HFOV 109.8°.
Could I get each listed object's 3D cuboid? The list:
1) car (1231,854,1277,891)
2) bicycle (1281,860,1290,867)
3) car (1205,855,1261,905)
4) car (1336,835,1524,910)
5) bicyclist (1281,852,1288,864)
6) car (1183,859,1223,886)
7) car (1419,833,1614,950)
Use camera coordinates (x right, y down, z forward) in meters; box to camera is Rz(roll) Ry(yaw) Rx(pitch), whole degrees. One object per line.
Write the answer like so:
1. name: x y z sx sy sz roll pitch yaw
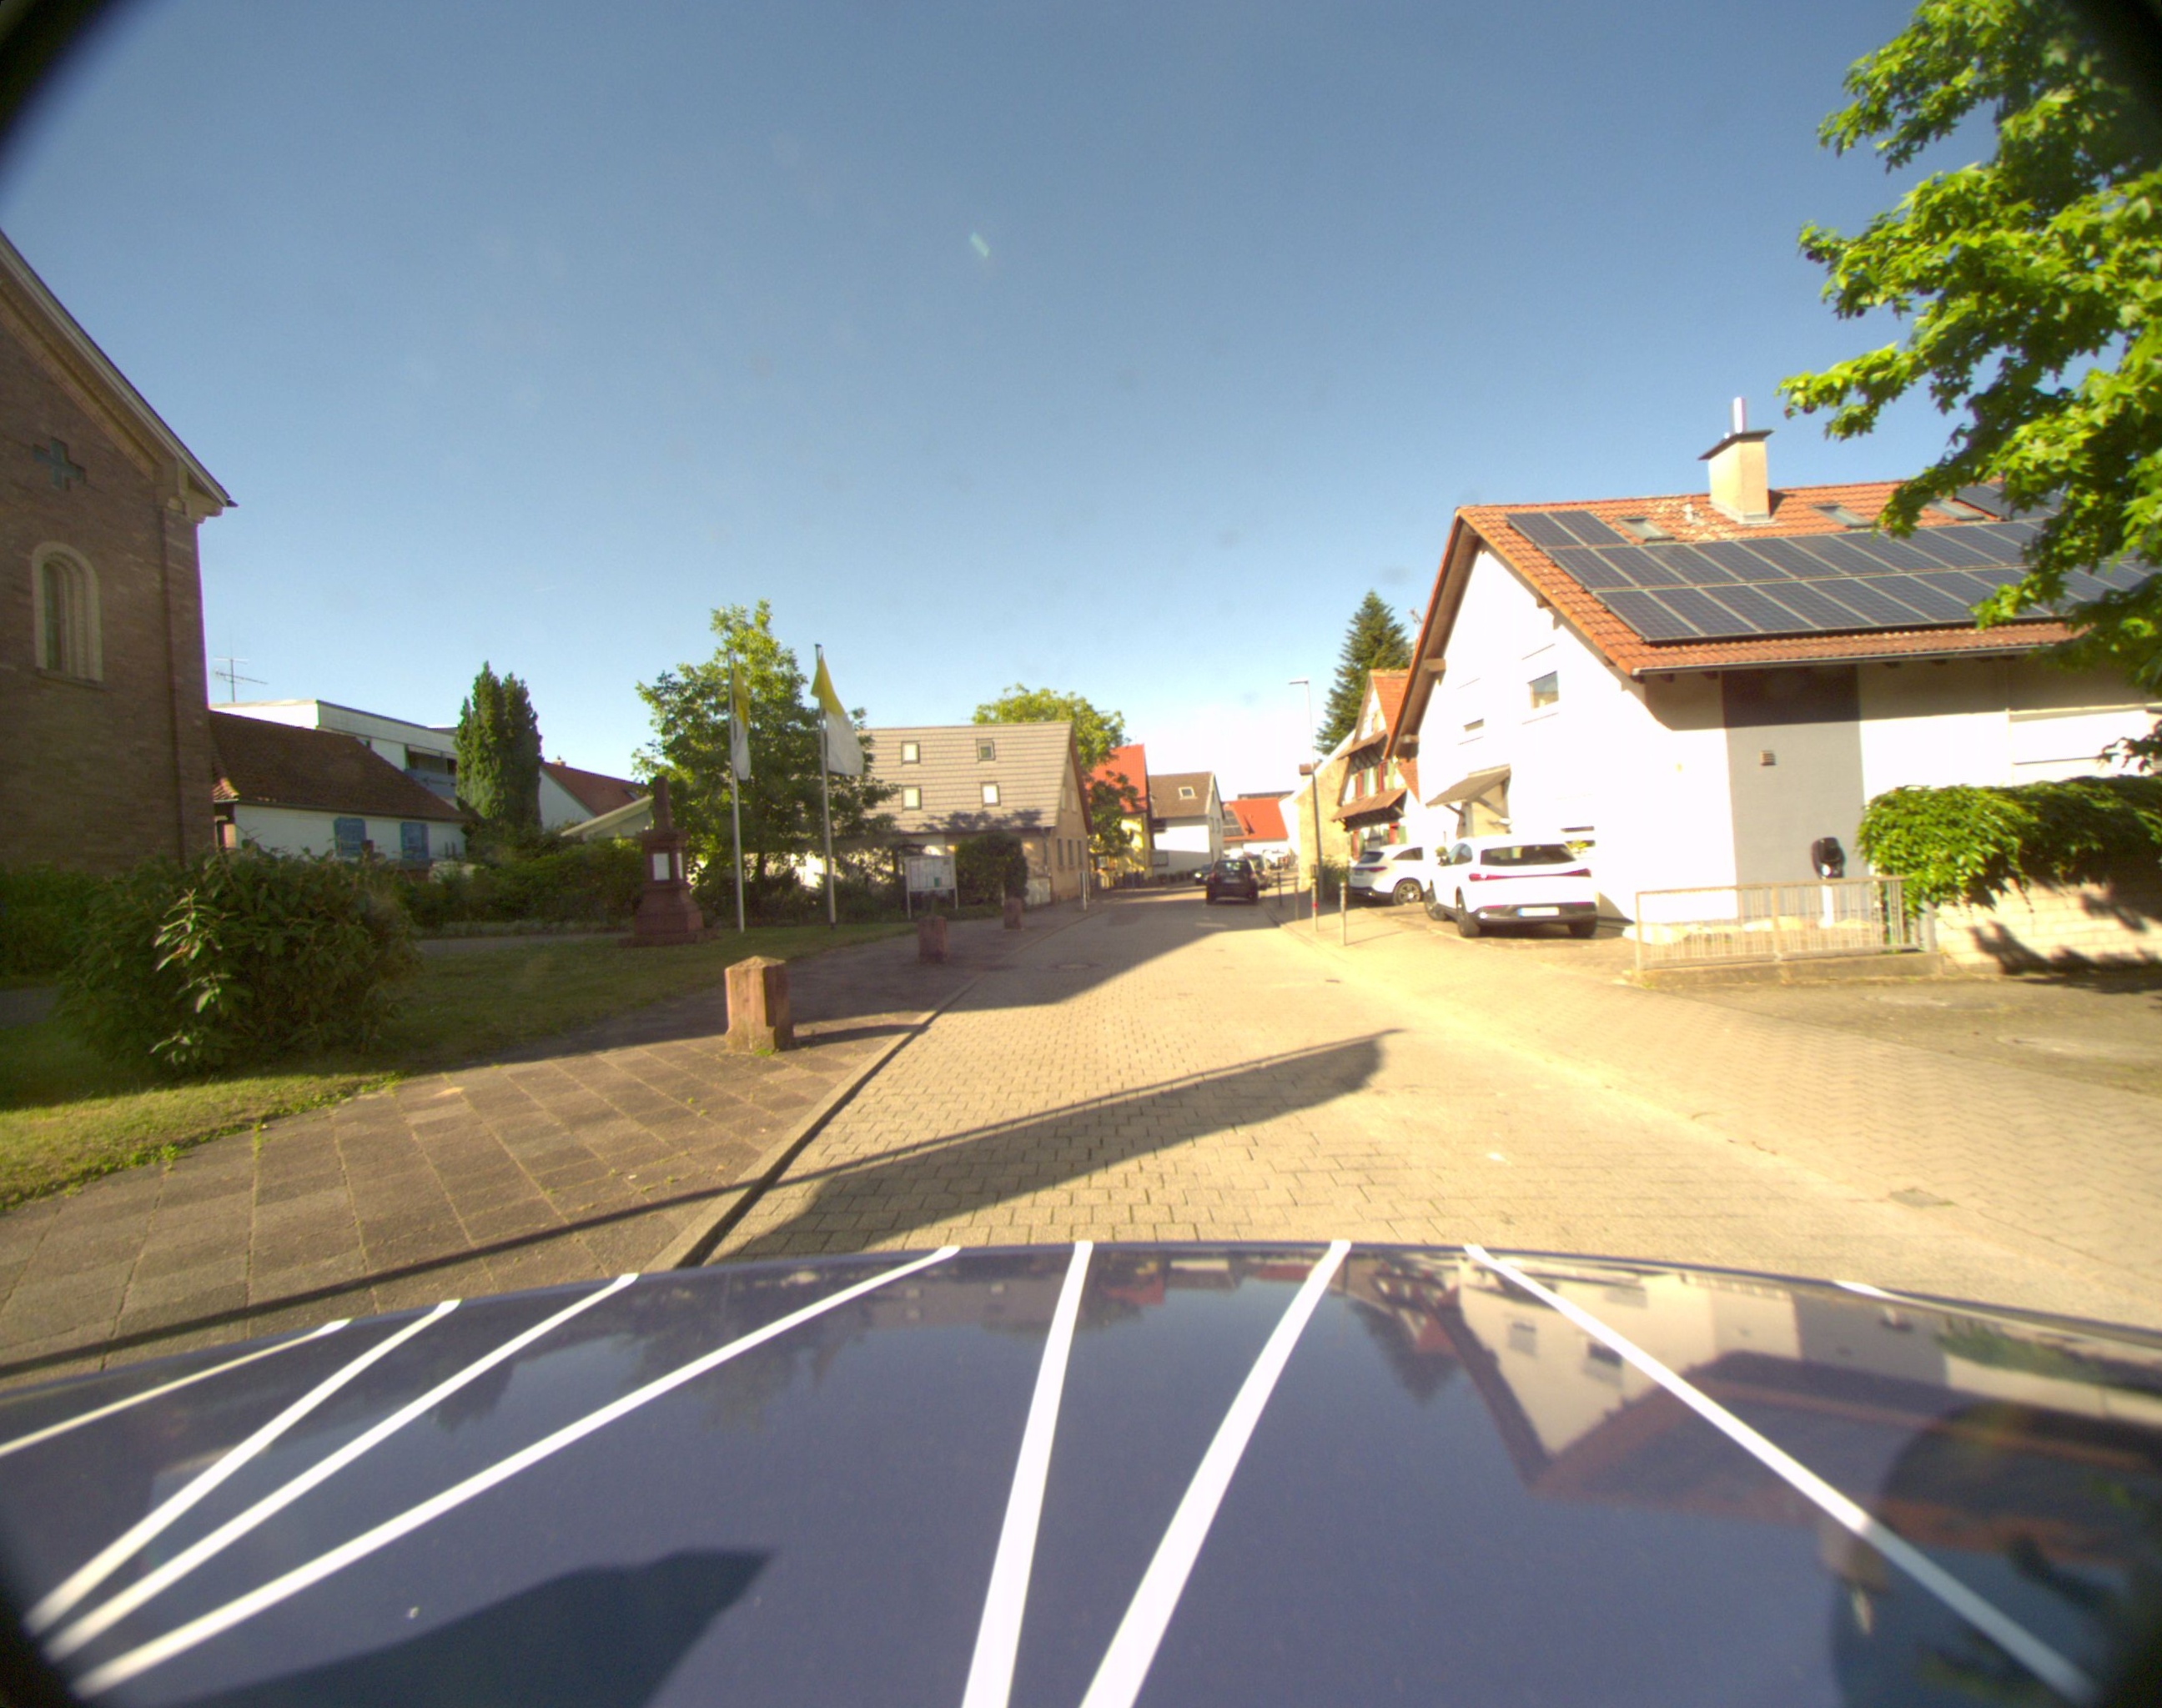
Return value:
1. car: 8.831 0.890 38.586 1.834 1.779 4.359 0 0 19
2. bicycle: 21.948 0.988 81.630 0.581 0.757 1.803 -1 0 27
3. car: 5.579 0.895 27.765 1.835 1.661 4.357 -1 0 12
4. car: 9.207 0.491 20.316 3.997 1.579 2.000 -5 -1 -2
5. bicyclist: 21.881 0.396 81.584 0.581 1.312 0.609 -1 0 27
6. car: 7.614 1.125 47.020 1.805 1.469 4.349 -2 0 17
7. car: 7.205 0.530 13.097 1.820 1.586 4.450 -4 0 16
